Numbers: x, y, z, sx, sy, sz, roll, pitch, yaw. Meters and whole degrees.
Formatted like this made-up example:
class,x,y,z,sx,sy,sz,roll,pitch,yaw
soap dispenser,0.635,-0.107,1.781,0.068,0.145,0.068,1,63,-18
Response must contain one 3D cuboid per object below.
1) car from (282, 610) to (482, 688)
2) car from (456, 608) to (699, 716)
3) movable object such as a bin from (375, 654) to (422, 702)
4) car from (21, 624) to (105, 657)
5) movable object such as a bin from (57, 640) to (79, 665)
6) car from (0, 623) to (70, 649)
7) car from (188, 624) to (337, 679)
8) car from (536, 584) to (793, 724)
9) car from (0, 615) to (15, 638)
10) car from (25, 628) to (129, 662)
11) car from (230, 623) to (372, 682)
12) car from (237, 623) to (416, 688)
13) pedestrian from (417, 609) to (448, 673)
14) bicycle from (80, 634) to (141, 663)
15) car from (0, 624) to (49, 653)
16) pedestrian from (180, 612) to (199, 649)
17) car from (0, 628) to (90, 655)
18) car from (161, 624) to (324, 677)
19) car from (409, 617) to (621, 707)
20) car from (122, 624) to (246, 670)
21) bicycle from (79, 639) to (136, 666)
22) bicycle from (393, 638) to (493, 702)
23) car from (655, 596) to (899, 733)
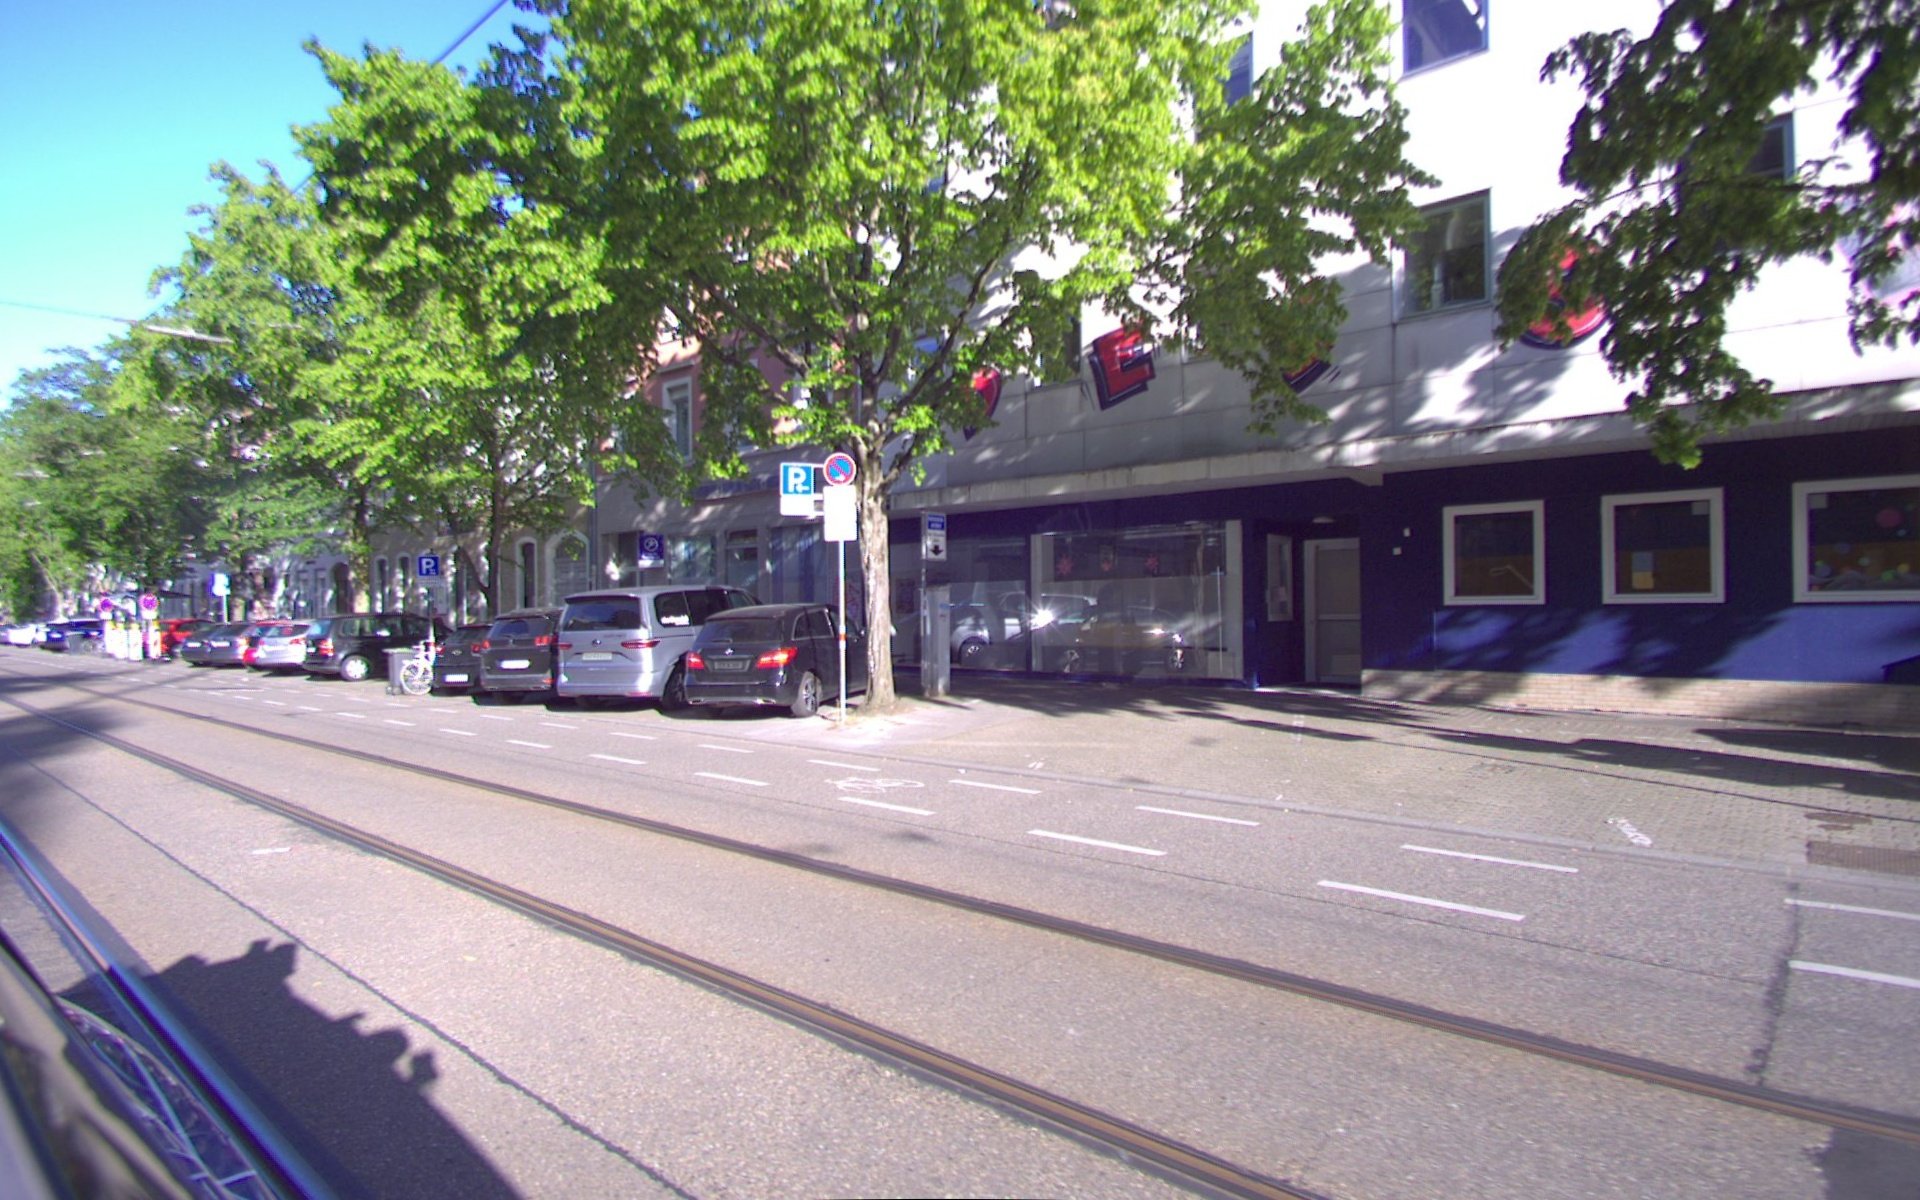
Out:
class,x,y,z,sx,sy,sz,roll,pitch,yaw
car,-14.786,1.199,26.061,1.839,1.690,4.064,-2,1,39
car,-6.679,1.024,18.217,1.797,1.698,4.220,-1,-1,20
movable object such as a bin,-11.354,1.576,20.465,0.572,0.920,0.572,-3,0,25
car,-51.417,2.307,58.084,1.710,1.857,3.444,-1,-2,1
movable object such as a bin,-41.545,2.429,47.132,0.710,1.086,0.676,-2,1,42
car,-64.750,2.469,70.364,1.690,1.689,3.972,-2,-1,21
car,-21.889,1.588,31.937,1.735,1.481,3.670,-1,0,12
car,-4.708,0.760,16.890,1.934,2.001,4.340,-1,0,19
car,-85.951,2.343,88.165,2.063,2.029,4.899,-1,-2,25
car,-45.094,2.267,51.773,1.556,1.621,3.889,-1,-1,11
car,-19.533,1.520,30.150,1.597,1.504,3.360,-2,0,13
car,-17.464,1.480,28.146,1.824,1.524,4.098,-2,0,15
pedestrian,-16.994,1.297,32.594,0.556,2.029,0.723,-2,-2,42
bicycle,-38.239,2.190,45.572,0.567,1.095,1.981,-2,2,43
car,-73.635,3.004,78.354,2.161,2.134,4.393,-2,-1,39
pedestrian,-38.912,1.555,51.084,0.624,1.852,0.636,-2,-2,42
car,-55.503,2.487,61.433,1.873,1.541,3.622,-1,-1,21
car,-23.763,1.628,33.718,1.925,1.502,4.184,-2,0,14
car,-8.883,1.178,20.556,1.829,1.487,3.845,-1,1,19
car,-30.771,1.839,40.245,1.653,1.565,3.608,-3,0,15
bicycle,-39.168,2.403,46.516,0.568,1.087,1.946,-2,1,43
bicycle,-10.588,1.409,20.806,0.489,1.153,1.957,-1,0,23
car,-2.564,0.849,15.360,1.895,1.679,4.273,-2,1,17
